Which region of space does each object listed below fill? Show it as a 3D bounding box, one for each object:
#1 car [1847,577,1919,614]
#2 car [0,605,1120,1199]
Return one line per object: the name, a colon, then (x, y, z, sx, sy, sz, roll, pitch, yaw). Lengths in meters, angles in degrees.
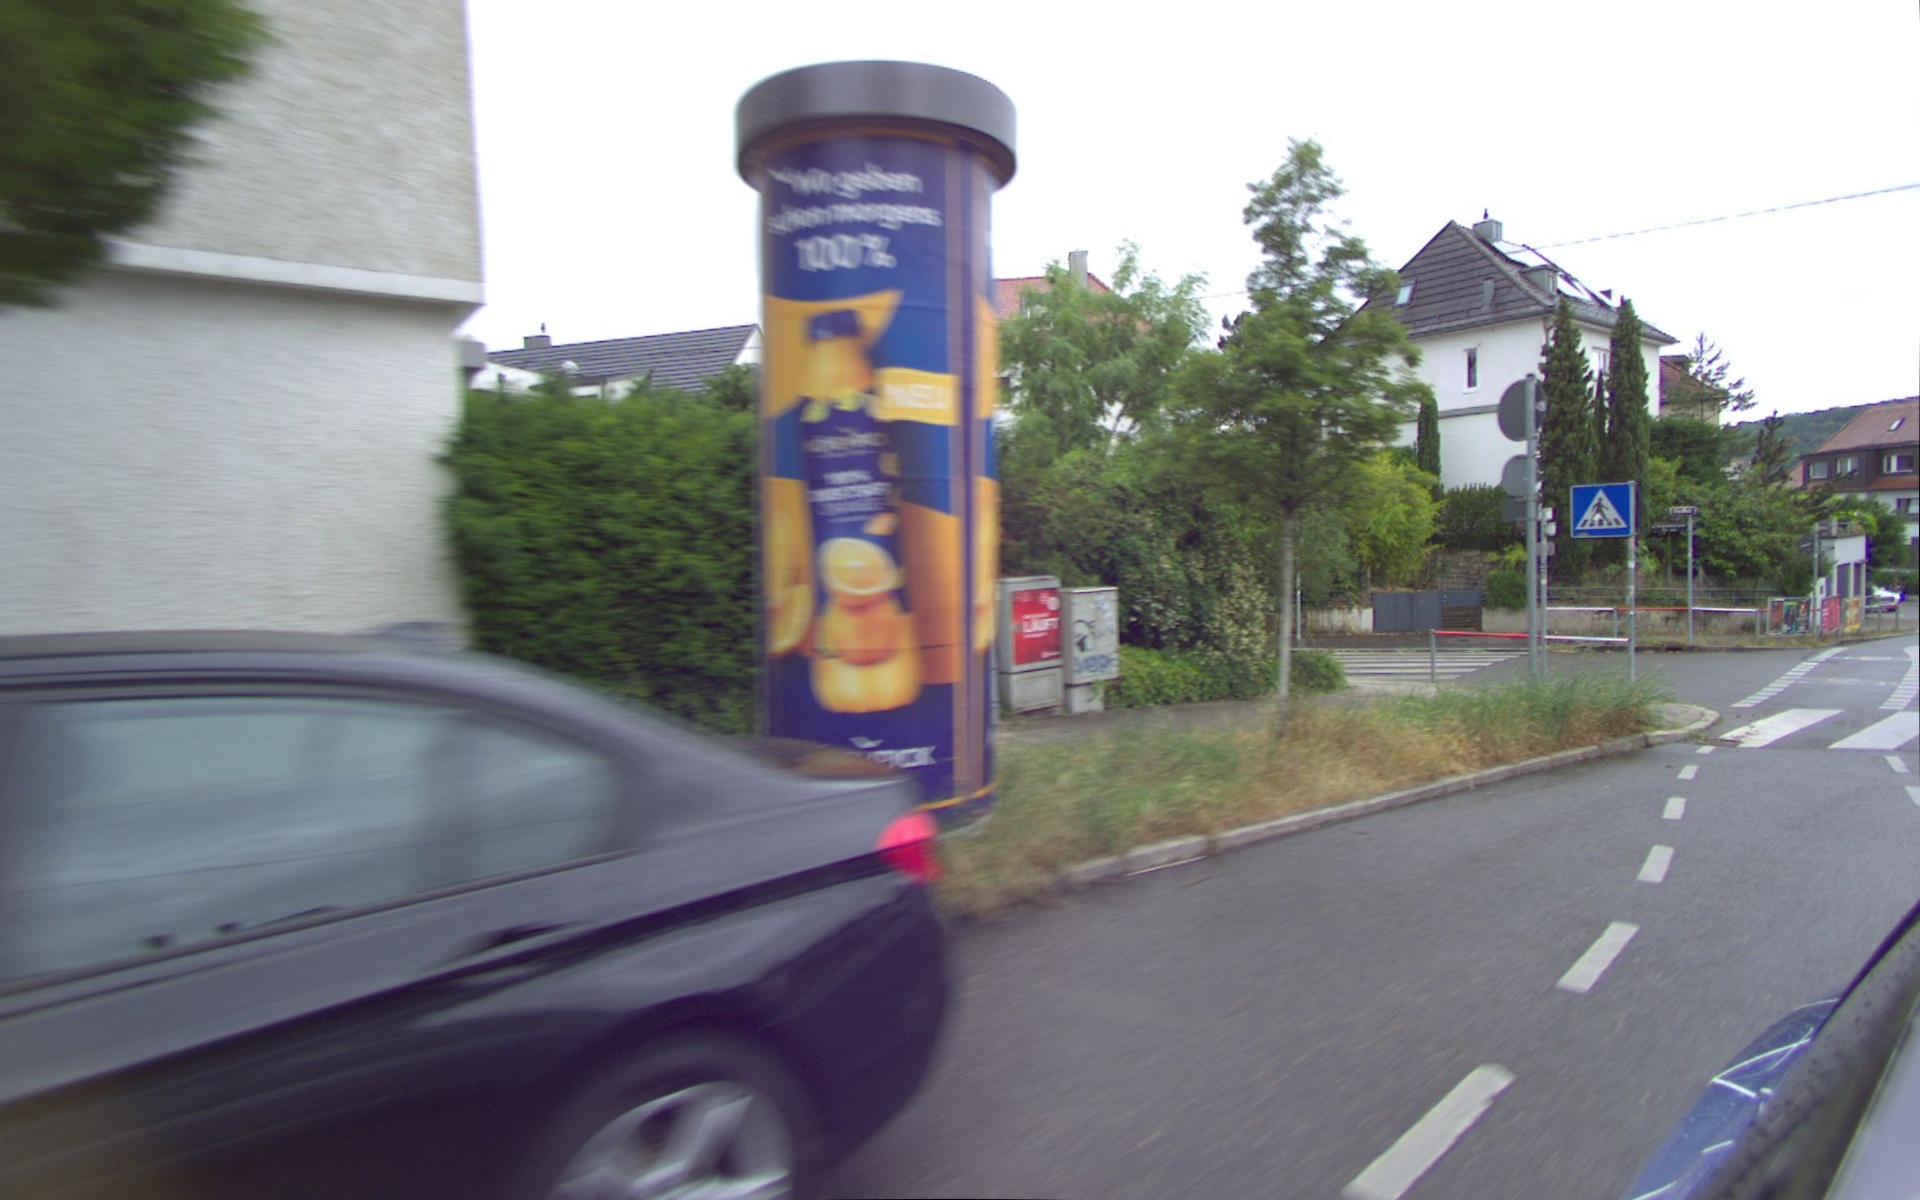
car: (49.221, -0.266, 53.895, 1.997, 1.927, 4.057, 0, 1, 26)
car: (-1.964, 0.771, 1.758, 4.796, 1.457, 1.782, -1, 0, -41)
